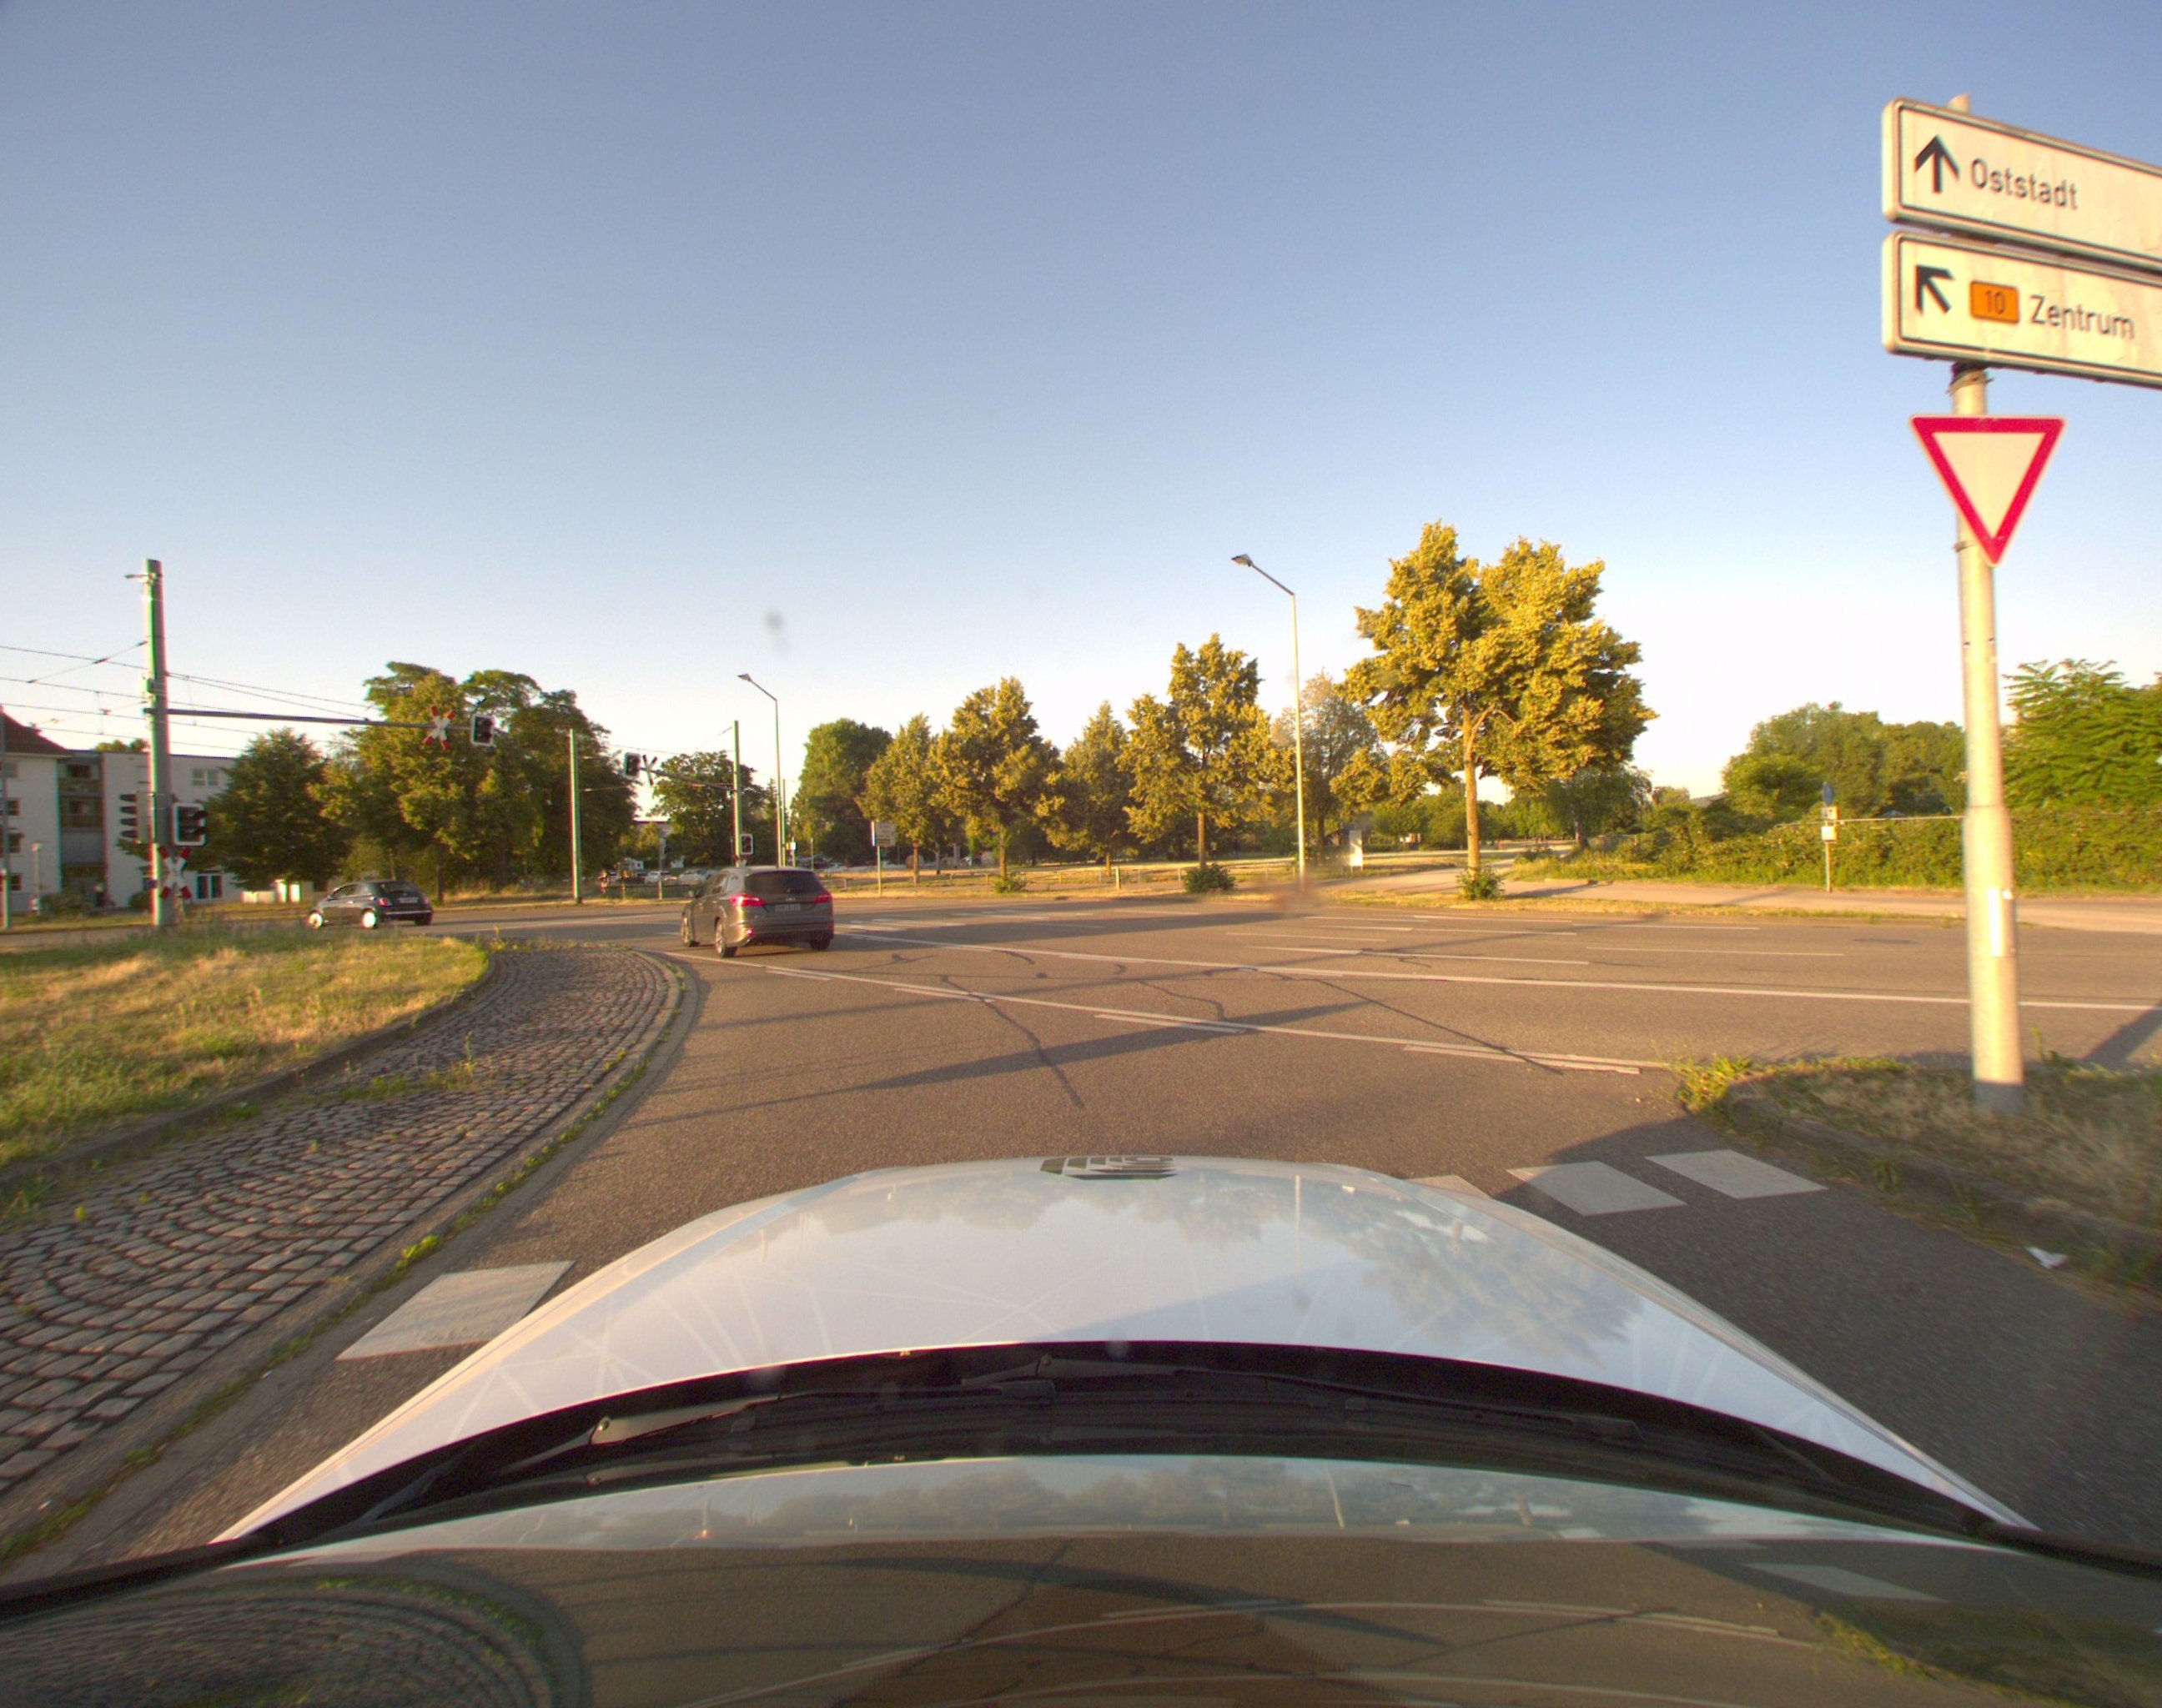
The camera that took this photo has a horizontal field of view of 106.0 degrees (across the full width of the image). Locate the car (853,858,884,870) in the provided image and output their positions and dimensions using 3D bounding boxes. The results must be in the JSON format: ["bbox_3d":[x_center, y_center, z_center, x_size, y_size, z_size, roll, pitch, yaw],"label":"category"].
[{"bbox_3d":[-29.986,1.412,114.900,3.949,1.551,2.012,-2,0,28],"label":"car"}]

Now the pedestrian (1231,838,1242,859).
[{"bbox_3d":[12.392,-0.413,64.916,0.622,1.626,0.525,-2,0,-32],"label":"pedestrian"}]

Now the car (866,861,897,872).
[{"bbox_3d":[-28.604,1.788,116.835,3.949,1.551,2.012,-2,0,28],"label":"car"}]

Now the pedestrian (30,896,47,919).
[{"bbox_3d":[-63.253,3.253,49.405,0.353,1.374,0.551,-2,0,25],"label":"pedestrian"}]

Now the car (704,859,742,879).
[{"bbox_3d":[-41.605,1.742,94.621,3.949,2.098,2.013,-2,0,29],"label":"car"}]

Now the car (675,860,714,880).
[{"bbox_3d":[-43.609,1.809,91.883,3.949,2.098,2.013,-2,0,29],"label":"car"}]

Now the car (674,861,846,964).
[{"bbox_3d":[-5.796,0.912,14.415,1.760,1.466,4.088,-3,1,-37],"label":"car"}]

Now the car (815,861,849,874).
[{"bbox_3d":[-33.191,1.764,108.594,3.949,1.551,2.012,-2,0,28],"label":"car"}]

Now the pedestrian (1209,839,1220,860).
[{"bbox_3d":[10.706,-0.378,65.321,0.581,1.626,0.529,-2,0,-22],"label":"pedestrian"}]

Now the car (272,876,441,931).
[{"bbox_3d":[-22.408,1.521,25.243,4.093,1.446,1.758,-2,1,12],"label":"car"}]
